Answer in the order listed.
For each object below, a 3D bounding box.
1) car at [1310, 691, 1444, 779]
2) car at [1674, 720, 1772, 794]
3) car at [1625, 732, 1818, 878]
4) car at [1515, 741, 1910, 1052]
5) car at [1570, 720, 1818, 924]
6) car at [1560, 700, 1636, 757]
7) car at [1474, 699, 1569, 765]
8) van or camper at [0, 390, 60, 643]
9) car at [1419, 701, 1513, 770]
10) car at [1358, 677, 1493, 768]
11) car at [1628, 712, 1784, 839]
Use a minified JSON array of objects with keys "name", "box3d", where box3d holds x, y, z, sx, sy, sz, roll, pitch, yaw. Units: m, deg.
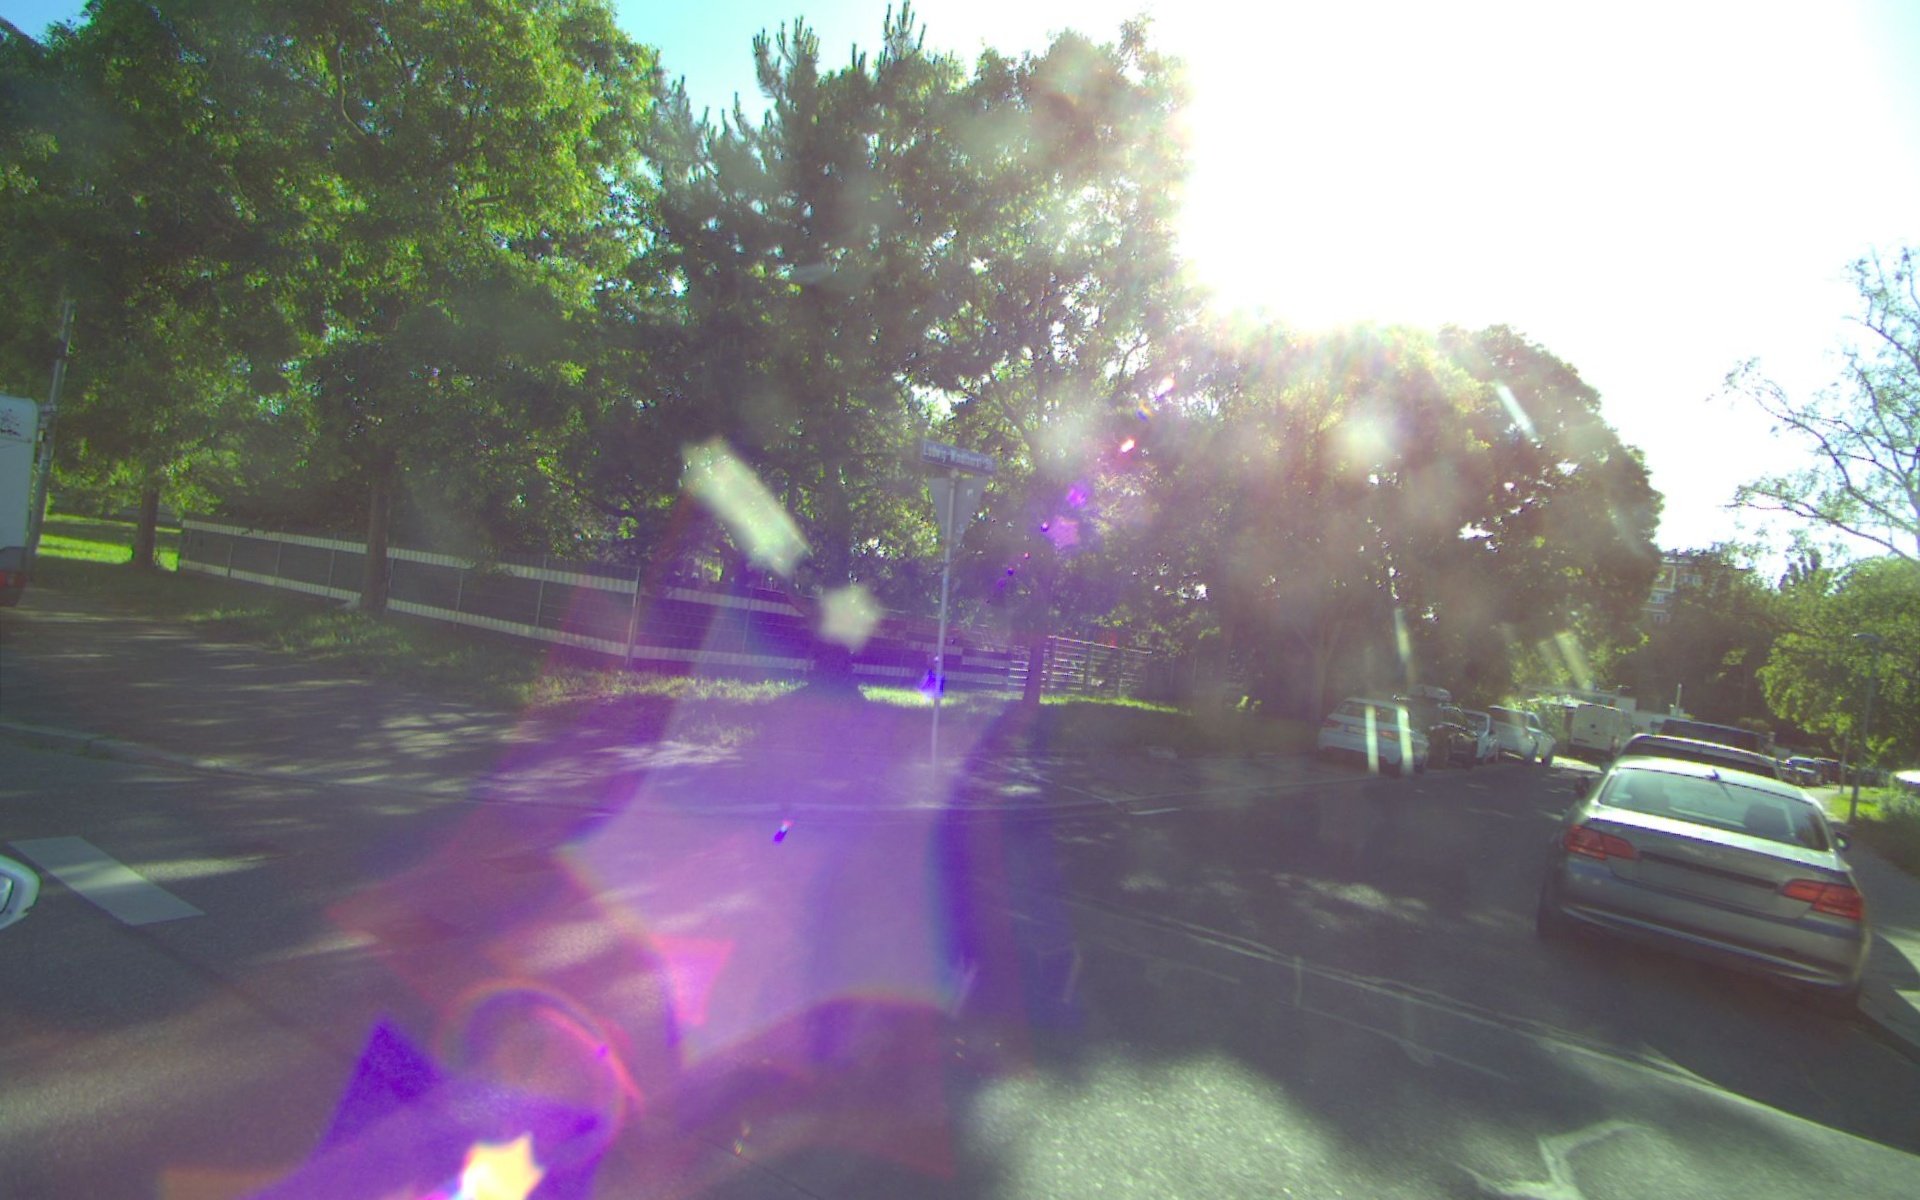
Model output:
[{"name":"car","box3d":[8.979,2.860,21.488,1.758,1.413,3.871,9,-1,34]},{"name":"car","box3d":[26.423,5.419,34.790,2.136,2.035,4.499,7,-2,42]},{"name":"car","box3d":[11.571,3.004,15.412,1.943,1.559,4.106,8,-2,37]},{"name":"car","box3d":[5.617,1.954,7.764,1.718,1.352,4.432,9,-2,36]},{"name":"car","box3d":[8.233,2.329,11.289,1.801,1.596,3.685,7,-2,38]},{"name":"car","box3d":[31.136,6.267,49.030,2.236,2.288,5.057,6,-2,41]},{"name":"car","box3d":[19.354,4.530,34.576,1.971,1.828,4.453,7,-2,39]},{"name":"van or camper","box3d":[-13.088,-1.222,11.622,6.321,2.630,2.352,7,1,33]},{"name":"car","box3d":[15.277,4.058,30.283,1.968,1.629,3.872,7,-2,33]},{"name":"car","box3d":[11.999,3.175,25.819,1.972,1.872,3.864,7,-2,41]},{"name":"car","box3d":[15.815,3.621,21.283,2.240,2.035,4.504,7,-2,39]}]
